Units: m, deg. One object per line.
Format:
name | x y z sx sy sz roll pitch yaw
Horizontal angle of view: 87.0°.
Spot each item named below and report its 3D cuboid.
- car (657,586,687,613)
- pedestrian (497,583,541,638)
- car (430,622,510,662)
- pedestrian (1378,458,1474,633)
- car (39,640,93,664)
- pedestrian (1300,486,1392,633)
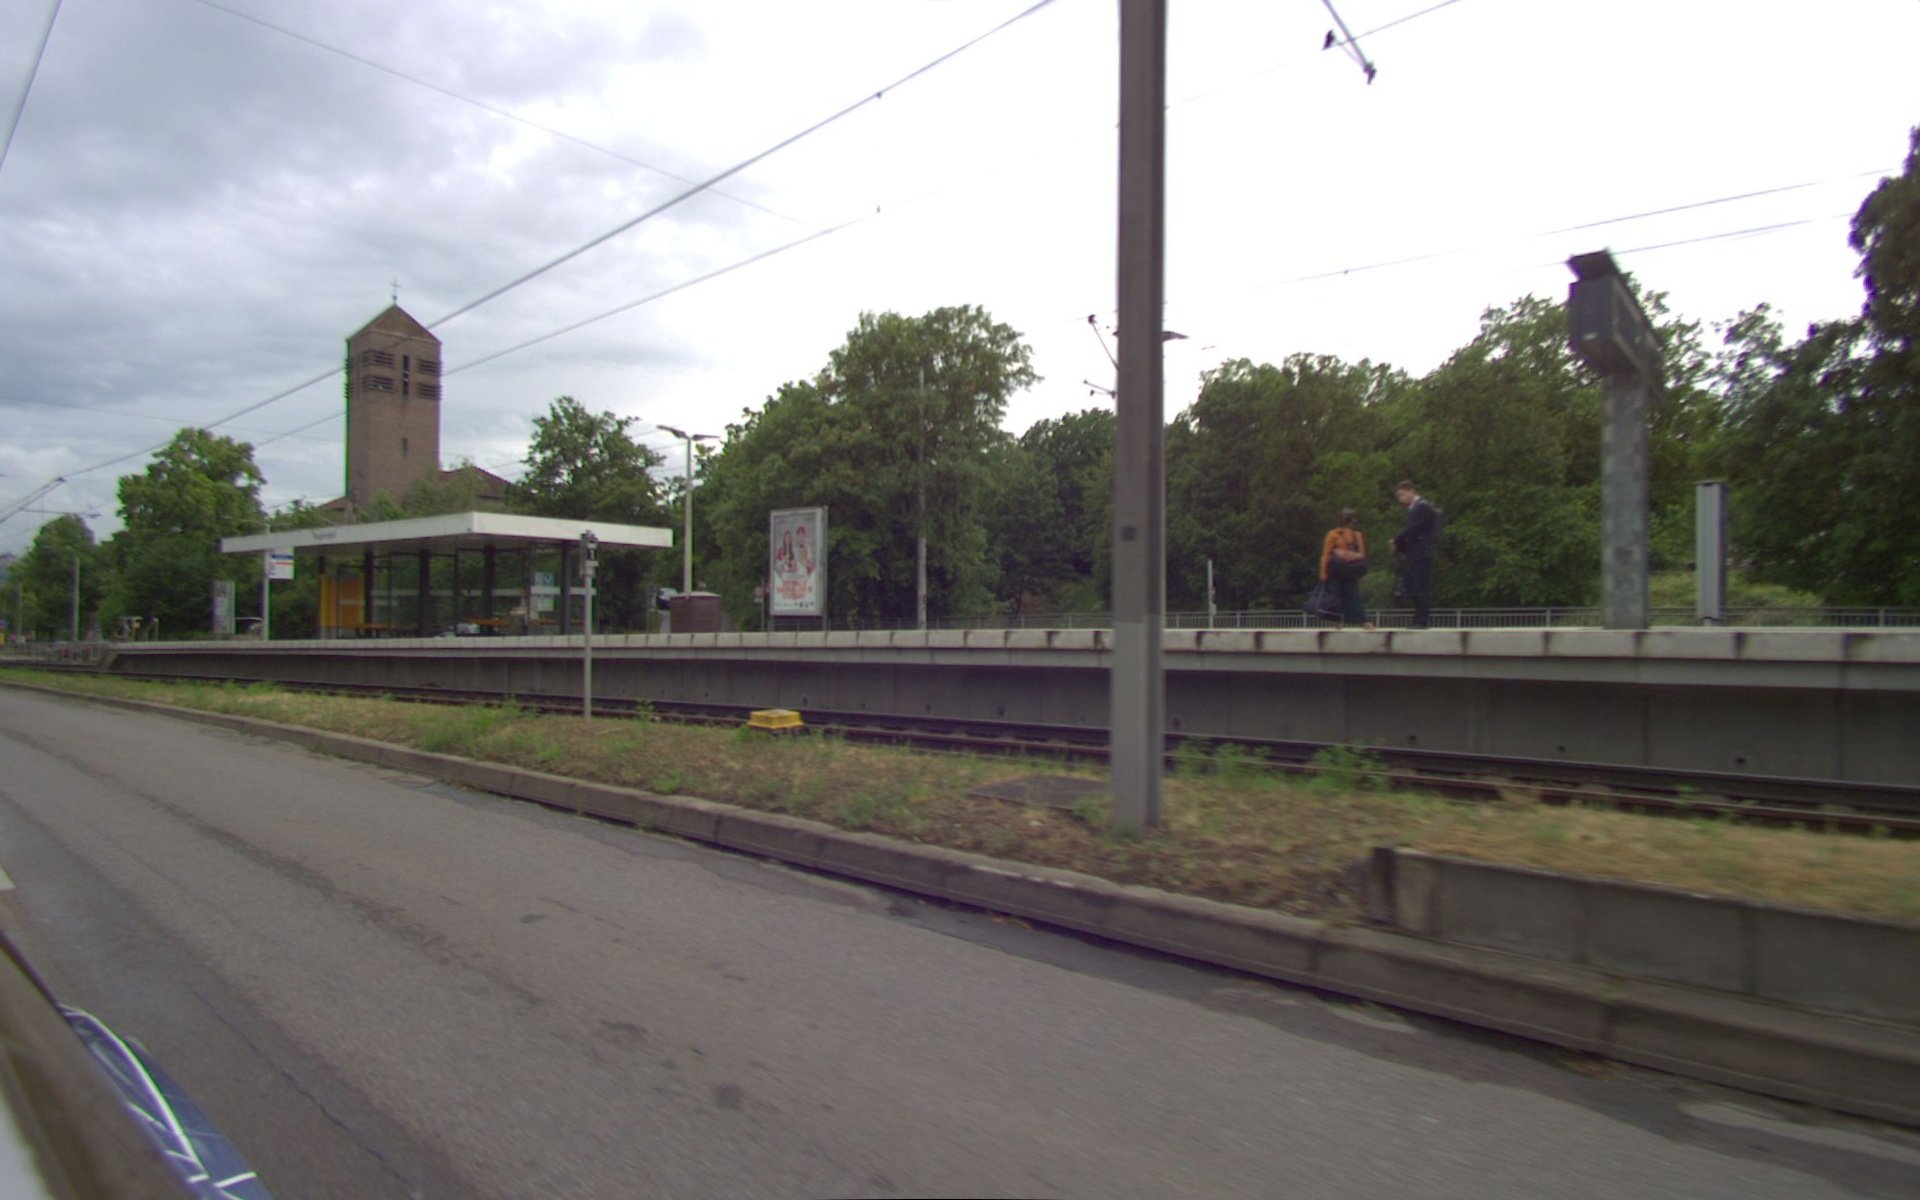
car | -22.635 -0.053 79.348 1.965 2.029 4.013 -1 1 -20
pedestrian | -10.028 0.243 23.021 0.619 1.235 0.703 -2 -2 40
car | -24.865 2.112 51.295 4.513 1.890 1.974 -2 -2 39
pedestrian | 5.426 -0.606 11.831 0.835 1.924 0.741 -3 -1 19
car | -64.055 3.686 72.464 4.509 1.636 1.976 -2 -2 36
pedestrian | 4.623 -0.460 12.193 0.911 1.659 0.792 -3 -1 19
